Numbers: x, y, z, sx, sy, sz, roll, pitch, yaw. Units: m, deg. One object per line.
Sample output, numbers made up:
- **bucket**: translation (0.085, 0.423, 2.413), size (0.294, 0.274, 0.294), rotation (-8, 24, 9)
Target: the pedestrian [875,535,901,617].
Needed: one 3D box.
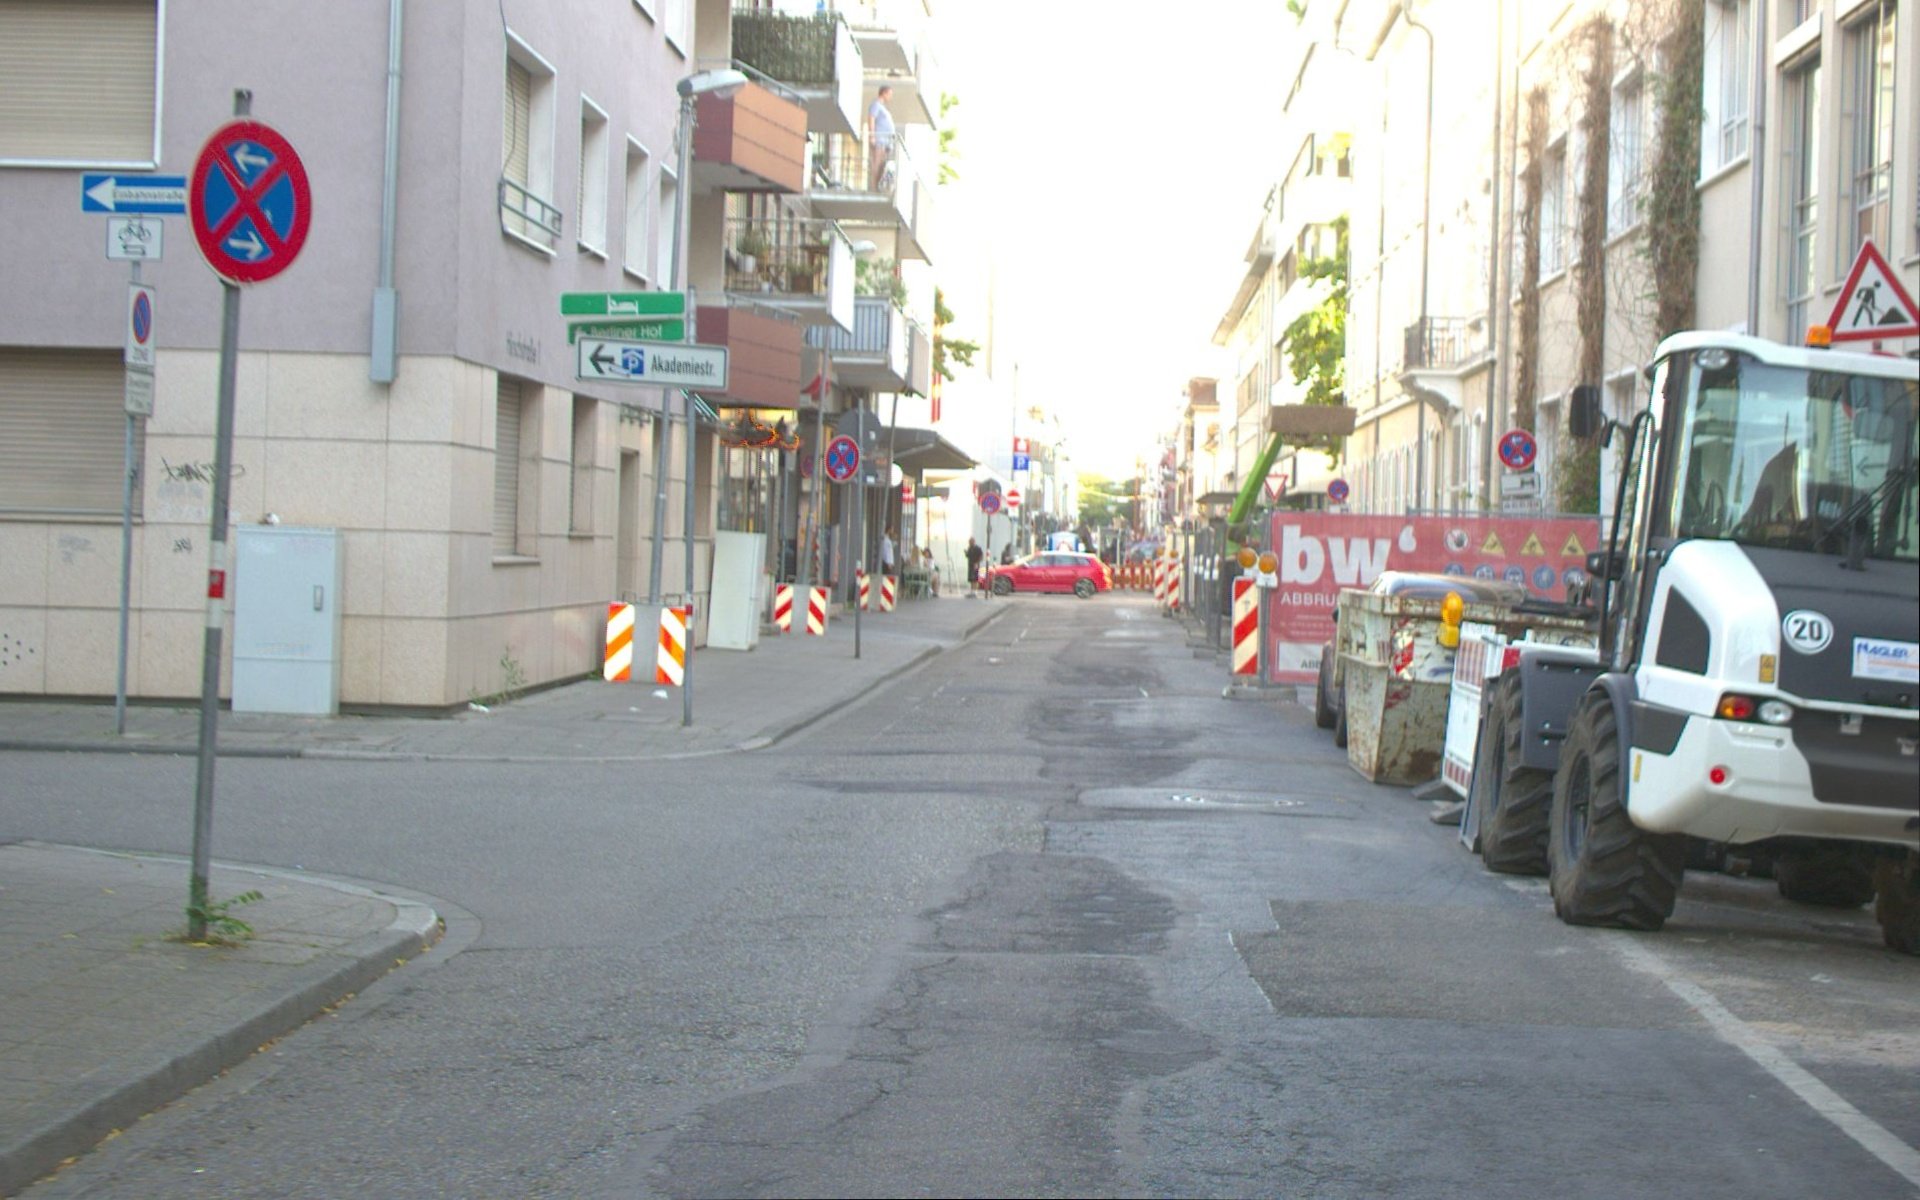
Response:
- **pedestrian**: translation (-1.619, -0.550, 77.398), size (0.530, 1.828, 0.563), rotation (1, 1, -3)

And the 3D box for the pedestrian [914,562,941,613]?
- **pedestrian**: translation (-0.835, -0.323, 89.082), size (0.573, 1.271, 0.713), rotation (4, 1, 3)

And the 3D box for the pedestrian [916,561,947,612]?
- **pedestrian**: translation (-0.745, -0.356, 89.959), size (0.702, 1.271, 0.713), rotation (3, 1, 3)

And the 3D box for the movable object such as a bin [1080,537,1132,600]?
- **movable object such as a bin**: translation (6.331, -1.358, 148.930), size (2.157, 2.654, 4.572), rotation (2, 0, 2)

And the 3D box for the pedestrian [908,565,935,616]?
- **pedestrian**: translation (-0.992, -0.245, 87.761), size (0.573, 1.271, 0.713), rotation (3, 1, 3)

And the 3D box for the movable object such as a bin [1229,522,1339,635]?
- **movable object such as a bin**: translation (8.413, -0.574, 89.690), size (2.605, 2.829, 4.449), rotation (1, 1, 3)

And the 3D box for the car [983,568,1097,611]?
- **car**: translation (2.494, -0.327, 107.069), size (3.510, 1.271, 1.474), rotation (1, 0, 1)

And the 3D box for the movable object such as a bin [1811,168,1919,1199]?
- **movable object such as a bin**: translation (3.236, 0.293, 6.315), size (2.016, 2.614, 5.750), rotation (4, 1, 3)

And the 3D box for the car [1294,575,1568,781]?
- **car**: translation (3.878, 0.589, 28.972), size (1.787, 1.466, 4.445), rotation (4, 1, 2)

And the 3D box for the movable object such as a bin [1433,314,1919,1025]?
- **movable object such as a bin**: translation (3.536, 0.229, 15.902), size (2.016, 2.614, 5.750), rotation (4, 1, 3)

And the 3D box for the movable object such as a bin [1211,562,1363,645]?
- **movable object such as a bin**: translation (7.087, 0.034, 75.290), size (2.736, 1.633, 7.552), rotation (2, 1, 1)

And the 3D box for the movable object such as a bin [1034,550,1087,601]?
- **movable object such as a bin**: translation (4.080, -1.009, 138.960), size (1.994, 2.007, 4.000), rotation (1, 1, 3)

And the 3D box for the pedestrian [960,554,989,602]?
- **pedestrian**: translation (0.395, -0.604, 94.094), size (0.702, 1.271, 0.713), rotation (2, 1, 3)
